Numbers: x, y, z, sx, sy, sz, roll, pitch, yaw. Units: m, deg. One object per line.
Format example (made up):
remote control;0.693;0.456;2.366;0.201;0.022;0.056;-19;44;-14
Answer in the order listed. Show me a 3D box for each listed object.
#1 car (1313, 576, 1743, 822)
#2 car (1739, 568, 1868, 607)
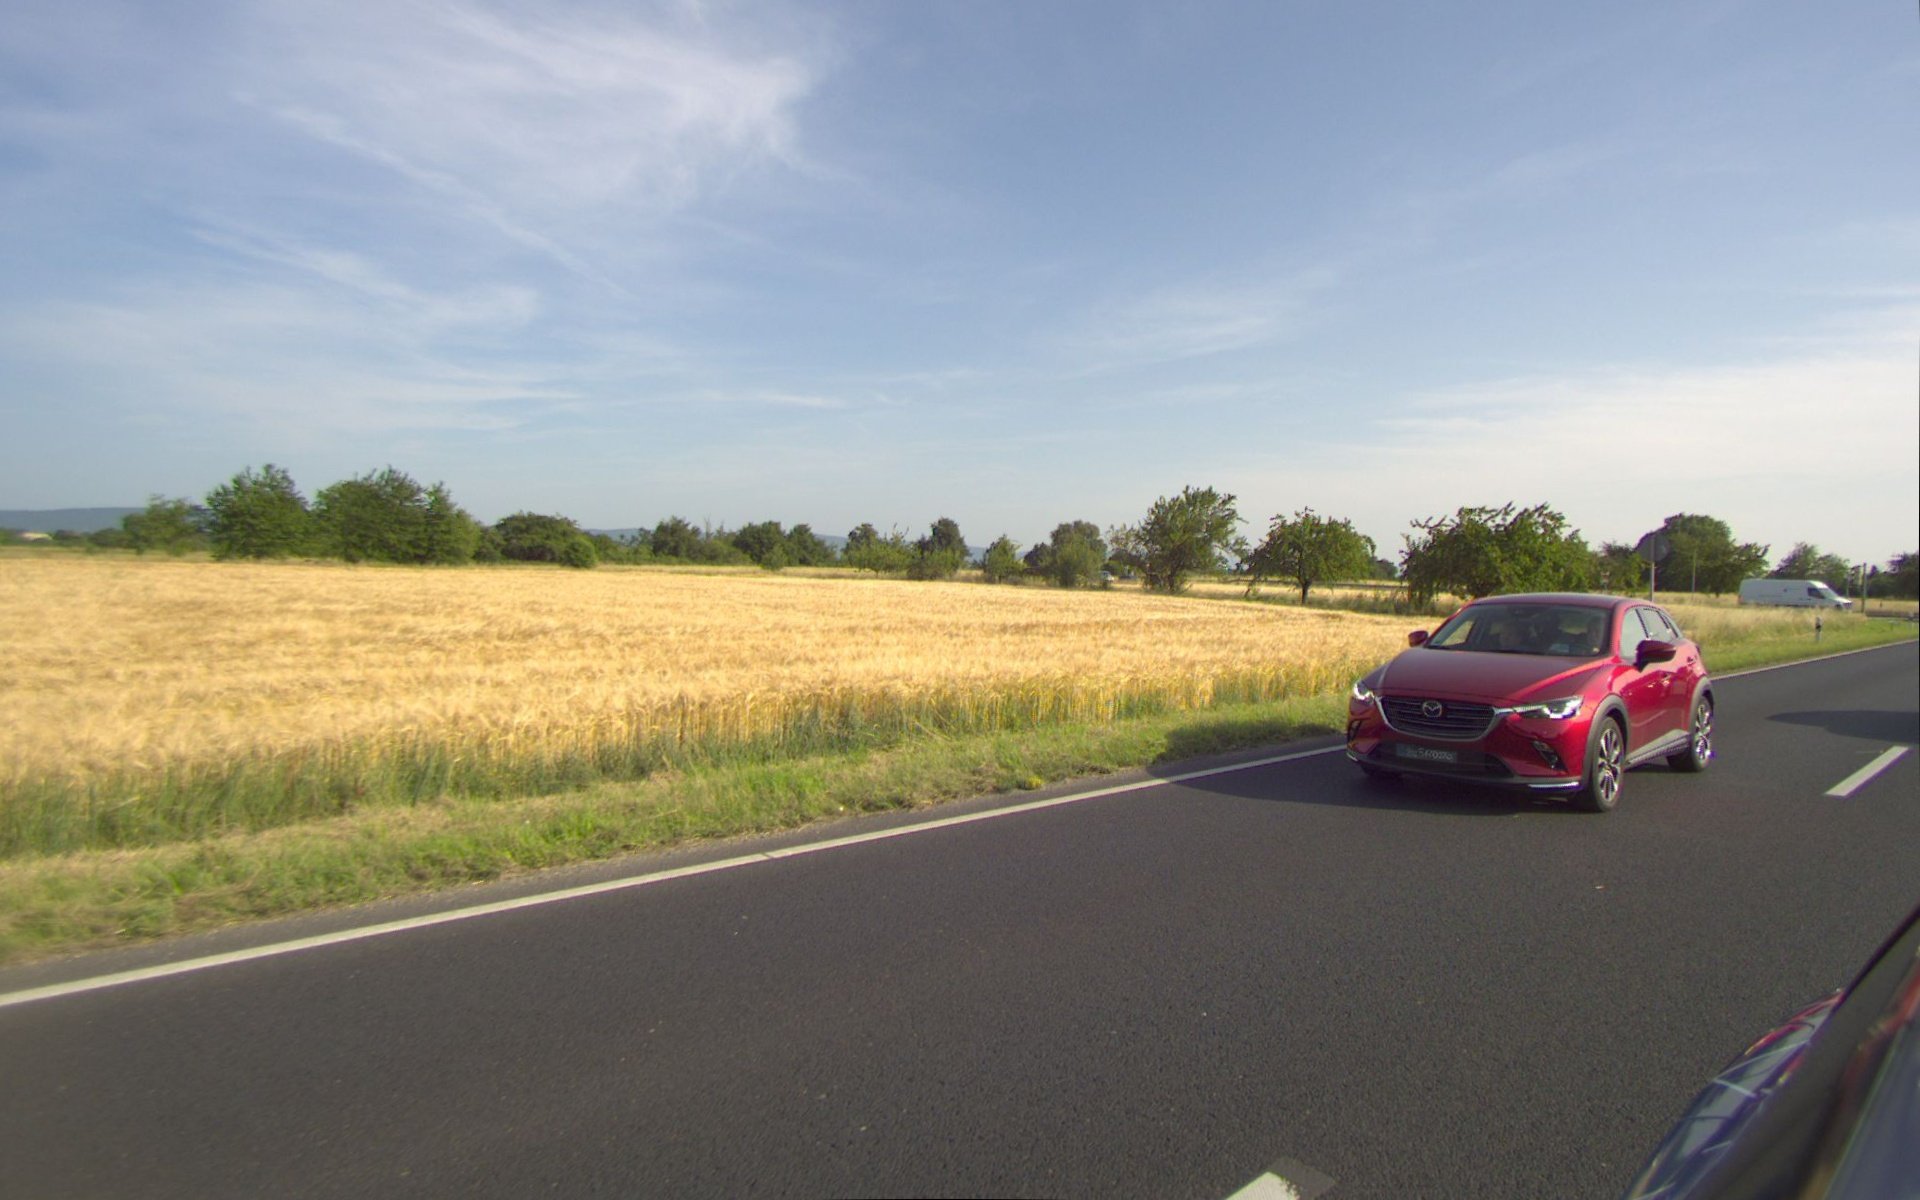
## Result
car;4.864;0.571;8.366;4.422;1.524;1.707;-1;1;-41
car;63.623;-1.035;76.549;2.049;2.701;7.230;-1;2;-26
